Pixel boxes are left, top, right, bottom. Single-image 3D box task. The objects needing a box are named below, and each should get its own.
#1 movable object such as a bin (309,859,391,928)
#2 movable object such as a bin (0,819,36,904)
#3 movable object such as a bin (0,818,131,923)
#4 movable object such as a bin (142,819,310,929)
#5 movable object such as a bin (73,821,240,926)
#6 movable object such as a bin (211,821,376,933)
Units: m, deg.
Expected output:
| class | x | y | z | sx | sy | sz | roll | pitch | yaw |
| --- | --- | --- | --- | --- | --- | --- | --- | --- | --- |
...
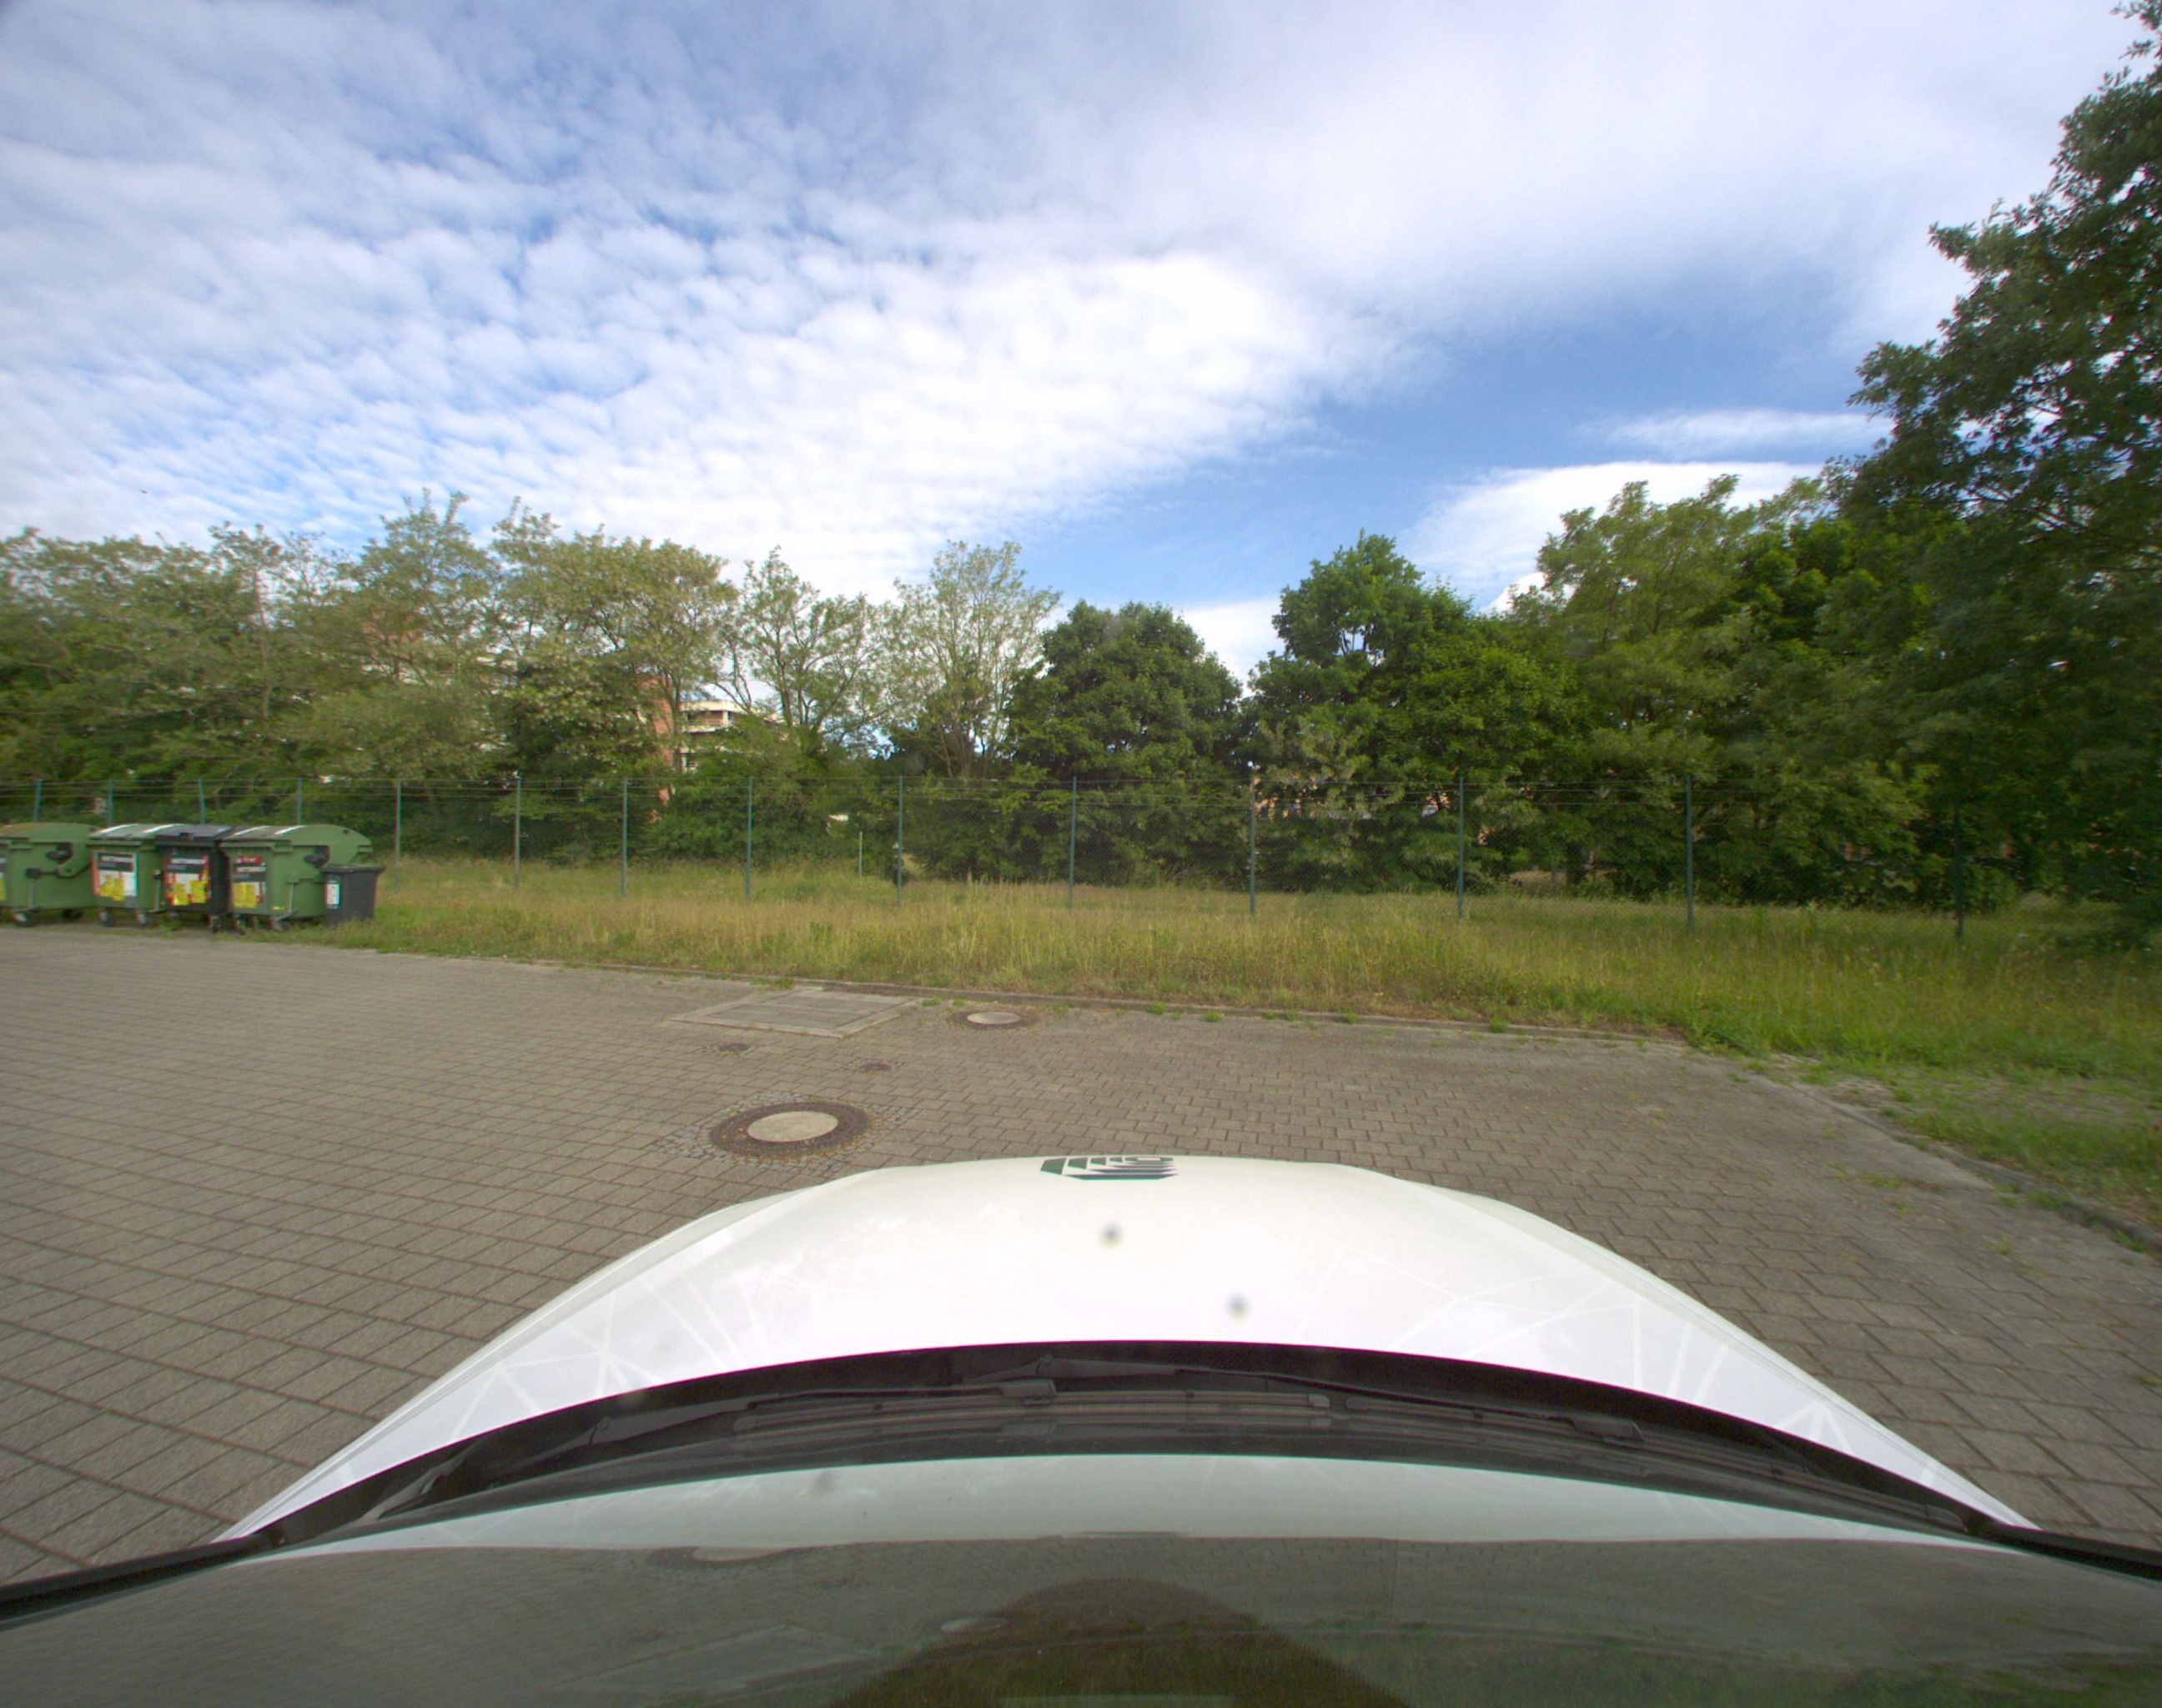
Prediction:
| class | x | y | z | sx | sy | sz | roll | pitch | yaw |
| --- | --- | --- | --- | --- | --- | --- | --- | --- | --- |
| movable object such as a bin | -9.577 | 0.504 | 10.678 | 0.578 | 0.866 | 0.605 | 0 | 0 | 23 |
| movable object such as a bin | -17.160 | 0.104 | 12.352 | 1.365 | 1.296 | 1.131 | 0 | 0 | 14 |
| movable object such as a bin | -14.699 | 0.219 | 11.629 | 1.368 | 1.398 | 1.133 | 0 | 0 | 25 |
| movable object such as a bin | -11.801 | 0.255 | 11.273 | 1.383 | 1.435 | 1.077 | 0 | 0 | 17 |
| movable object such as a bin | -13.090 | 0.258 | 11.559 | 1.370 | 1.406 | 1.077 | 0 | 0 | 17 |
| movable object such as a bin | -10.512 | 0.282 | 10.897 | 1.340 | 1.395 | 1.138 | 0 | 0 | 23 |
